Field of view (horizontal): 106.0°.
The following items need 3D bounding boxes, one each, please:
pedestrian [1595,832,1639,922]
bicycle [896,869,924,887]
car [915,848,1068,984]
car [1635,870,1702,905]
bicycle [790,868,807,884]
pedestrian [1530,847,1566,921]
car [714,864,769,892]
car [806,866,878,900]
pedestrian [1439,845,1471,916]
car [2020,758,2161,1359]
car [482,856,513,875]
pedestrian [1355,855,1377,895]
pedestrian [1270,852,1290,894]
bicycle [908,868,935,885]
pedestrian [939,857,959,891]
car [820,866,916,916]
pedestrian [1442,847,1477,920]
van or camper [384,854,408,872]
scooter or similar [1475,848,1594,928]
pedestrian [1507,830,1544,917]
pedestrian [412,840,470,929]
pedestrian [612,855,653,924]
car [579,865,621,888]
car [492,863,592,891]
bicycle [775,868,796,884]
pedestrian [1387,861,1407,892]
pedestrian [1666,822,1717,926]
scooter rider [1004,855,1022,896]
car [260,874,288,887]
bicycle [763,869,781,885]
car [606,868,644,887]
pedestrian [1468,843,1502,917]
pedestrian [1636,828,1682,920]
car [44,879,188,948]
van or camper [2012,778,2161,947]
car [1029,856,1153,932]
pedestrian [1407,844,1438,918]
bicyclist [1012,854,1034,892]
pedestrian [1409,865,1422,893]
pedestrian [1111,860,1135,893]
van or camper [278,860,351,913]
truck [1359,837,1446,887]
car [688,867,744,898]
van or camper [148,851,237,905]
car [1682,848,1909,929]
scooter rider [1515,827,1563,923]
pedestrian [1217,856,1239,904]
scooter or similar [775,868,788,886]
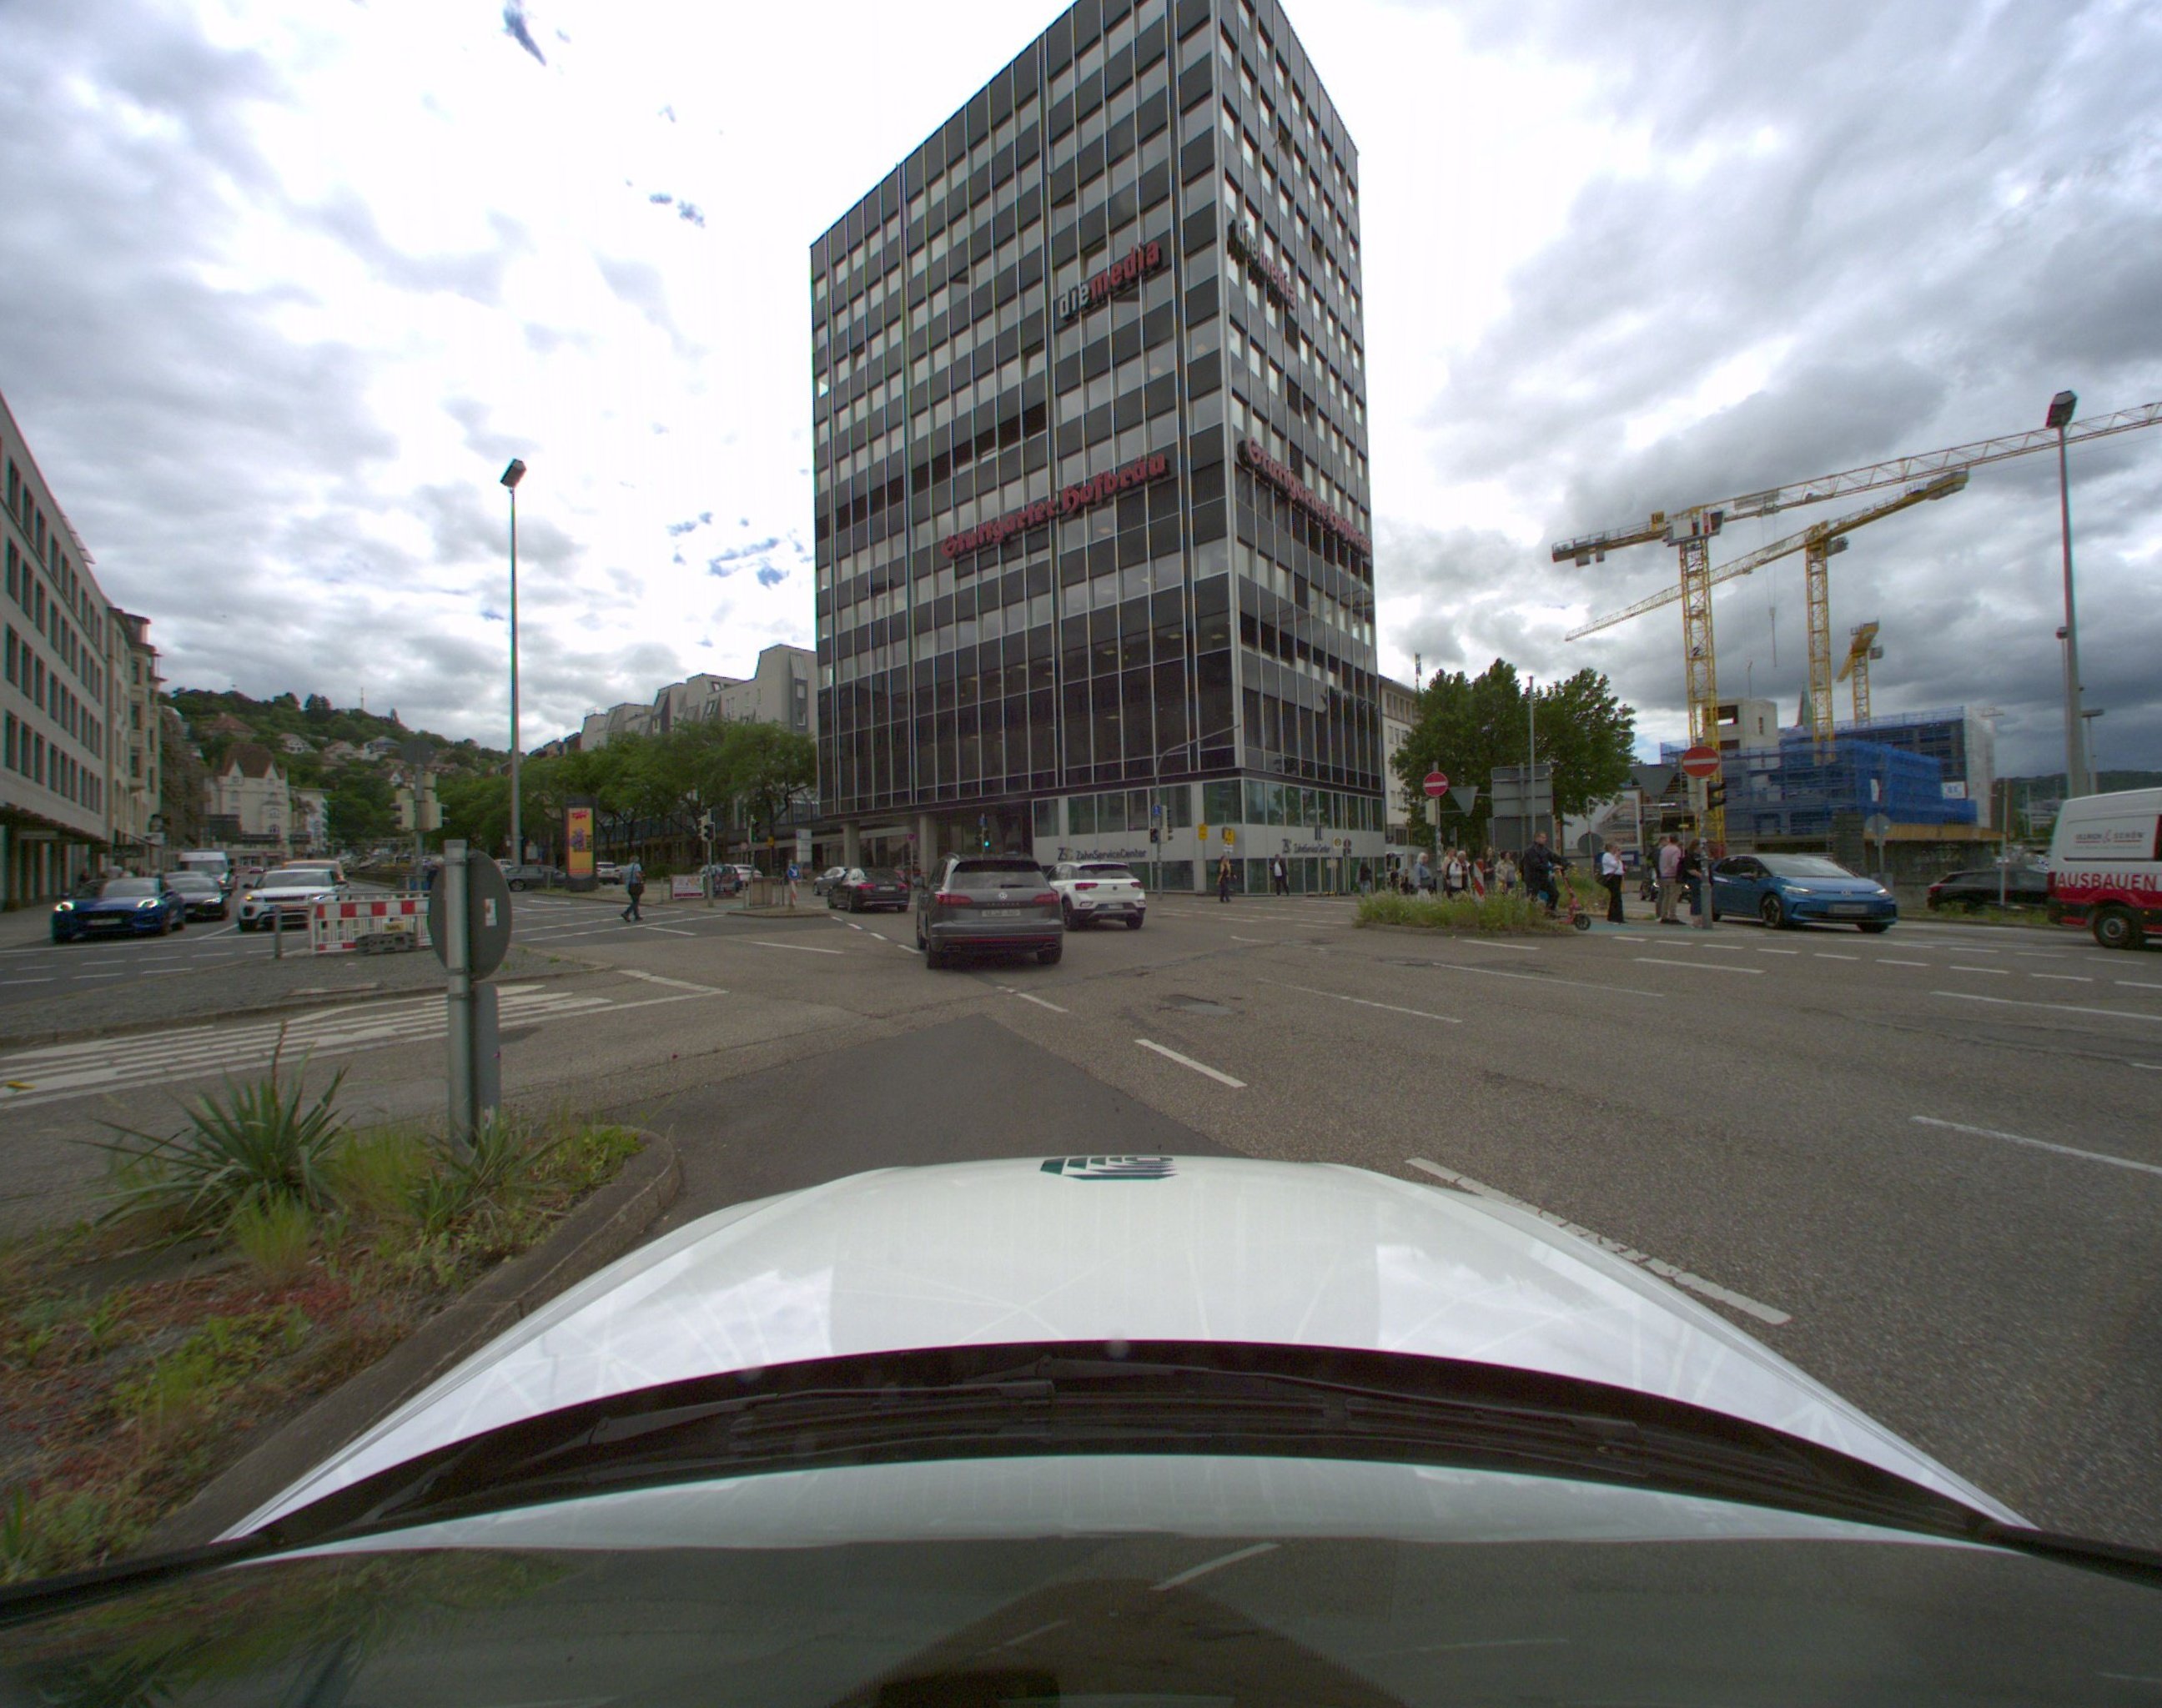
[{"bbox_3d":[10.957,0.451,16.659,0.635,1.797,0.614,0,-1,21],"label":"pedestrian"},{"bbox_3d":[-10.296,1.439,48.962,1.468,1.048,0.718,-1,-1,24],"label":"bicycle"},{"bbox_3d":[-1.532,0.791,12.787,1.971,1.695,4.209,-2,0,-10],"label":"car"},{"bbox_3d":[26.771,1.508,37.210,1.815,1.466,4.023,-2,-1,27],"label":"car"},{"bbox_3d":[-20.686,1.609,59.633,0.494,1.132,1.667,0,-1,-45],"label":"bicycle"},{"bbox_3d":[10.968,0.690,19.136,0.635,1.696,0.614,-1,-1,21],"label":"pedestrian"},{"bbox_3d":[-20.277,1.420,48.548,1.848,1.517,3.722,-2,0,-42],"label":"car"},{"bbox_3d":[-11.440,1.327,38.884,1.848,1.432,4.099,1,0,-39],"label":"car"},{"bbox_3d":[9.674,0.678,21.081,0.694,1.815,0.673,-1,-1,23],"label":"pedestrian"},{"bbox_3d":[3.716,0.552,0.343,1.794,1.646,4.338,-2,0,4],"label":"car"},{"bbox_3d":[-59.969,1.199,83.669,1.849,1.874,4.810,-2,0,-44],"label":"car"},{"bbox_3d":[12.394,0.904,35.408,0.593,1.679,0.631,0,-1,-30],"label":"pedestrian"},{"bbox_3d":[8.305,0.775,34.001,0.629,1.748,0.594,-1,-1,28],"label":"pedestrian"},{"bbox_3d":[-9.710,1.357,49.560,1.468,1.048,0.718,-1,-1,24],"label":"bicycle"},{"bbox_3d":[-6.833,1.041,42.148,0.743,1.711,0.530,-4,-1,39],"label":"pedestrian"},{"bbox_3d":[-7.018,1.136,26.571,1.846,1.395,4.105,1,0,-33],"label":"car"},{"bbox_3d":[9.339,0.721,20.121,0.754,1.762,0.673,-1,-1,23],"label":"pedestrian"},{"bbox_3d":[-122.013,1.566,145.040,5.730,3.178,2.651,-1,0,45],"label":"van or camper"},{"bbox_3d":[8.355,0.606,15.059,1.864,1.407,0.781,-1,-1,29],"label":"scooter or similar"},{"bbox_3d":[10.215,0.440,18.727,0.635,1.965,0.614,-1,-1,21],"label":"pedestrian"},{"bbox_3d":[-16.109,0.743,20.495,0.753,2.172,0.884,-1,-1,27],"label":"pedestrian"},{"bbox_3d":[-12.210,0.960,22.158,0.626,1.790,0.722,0,4,44],"label":"pedestrian"},{"bbox_3d":[-34.338,1.597,58.061,1.848,1.567,3.722,-2,0,-42],"label":"car"},{"bbox_3d":[-30.350,1.268,45.905,4.587,1.458,1.860,0,-1,-37],"label":"car"},{"bbox_3d":[-21.438,1.622,59.113,1.863,1.132,0.494,-1,-1,39],"label":"bicycle"},{"bbox_3d":[18.021,1.293,46.418,0.863,1.746,0.853,-1,-1,36],"label":"pedestrian"},{"bbox_3d":[11.755,0.379,15.696,0.635,1.955,0.614,-1,-1,24],"label":"pedestrian"},{"bbox_3d":[-3.028,0.956,36.222,0.639,1.809,0.594,-2,0,3],"label":"scooter rider"},{"bbox_3d":[-99.330,3.221,100.234,4.483,1.527,1.937,-1,-1,39],"label":"car"},{"bbox_3d":[-22.186,1.624,58.471,1.820,1.132,0.494,-1,-1,44],"label":"bicycle"},{"bbox_3d":[-34.846,1.799,62.173,1.848,1.363,3.722,-2,0,-41],"label":"car"},{"bbox_3d":[9.443,0.597,19.051,0.635,1.696,0.614,-1,-1,21],"label":"pedestrian"},{"bbox_3d":[12.313,0.422,17.375,0.635,1.910,0.614,-1,-1,21],"label":"pedestrian"},{"bbox_3d":[-25.013,1.469,21.276,2.011,1.525,4.041,-1,0,-44],"label":"car"},{"bbox_3d":[16.762,0.120,11.149,2.125,2.477,6.184,0,0,14],"label":"van or camper"},{"bbox_3d":[0.114,0.891,19.373,1.802,1.545,3.912,-2,-1,-17],"label":"car"},{"bbox_3d":[8.824,0.684,21.020,0.694,1.862,0.673,-1,-1,23],"label":"pedestrian"},{"bbox_3d":[-2.882,0.955,40.331,0.803,1.846,0.679,-2,0,39],"label":"bicyclist"},{"bbox_3d":[18.816,1.392,45.806,0.511,1.534,0.557,-1,-1,36],"label":"pedestrian"},{"bbox_3d":[1.870,1.012,36.354,0.828,1.443,0.610,-2,0,40],"label":"pedestrian"},{"bbox_3d":[-31.439,1.286,33.360,5.020,1.921,1.931,-1,1,44],"label":"van or camper"},{"bbox_3d":[21.344,0.547,53.774,2.316,3.064,8.247,-2,-2,44],"label":"truck"},{"bbox_3d":[-19.316,1.458,42.987,1.847,1.517,3.724,-2,0,-38],"label":"car"},{"bbox_3d":[-47.941,1.243,44.103,6.168,2.726,3.029,-1,-1,45],"label":"van or camper"},{"bbox_3d":[14.849,0.643,17.333,1.927,1.483,4.649,-2,0,18],"label":"car"},{"bbox_3d":[8.435,0.381,15.017,0.737,1.694,0.771,-1,-1,29],"label":"scooter rider"},{"bbox_3d":[5.302,0.931,29.462,0.545,1.698,0.800,-1,0,-6],"label":"pedestrian"},{"bbox_3d":[-21.518,1.657,58.555,0.984,1.251,0.308,-1,-1,31],"label":"scooter or similar"}]
